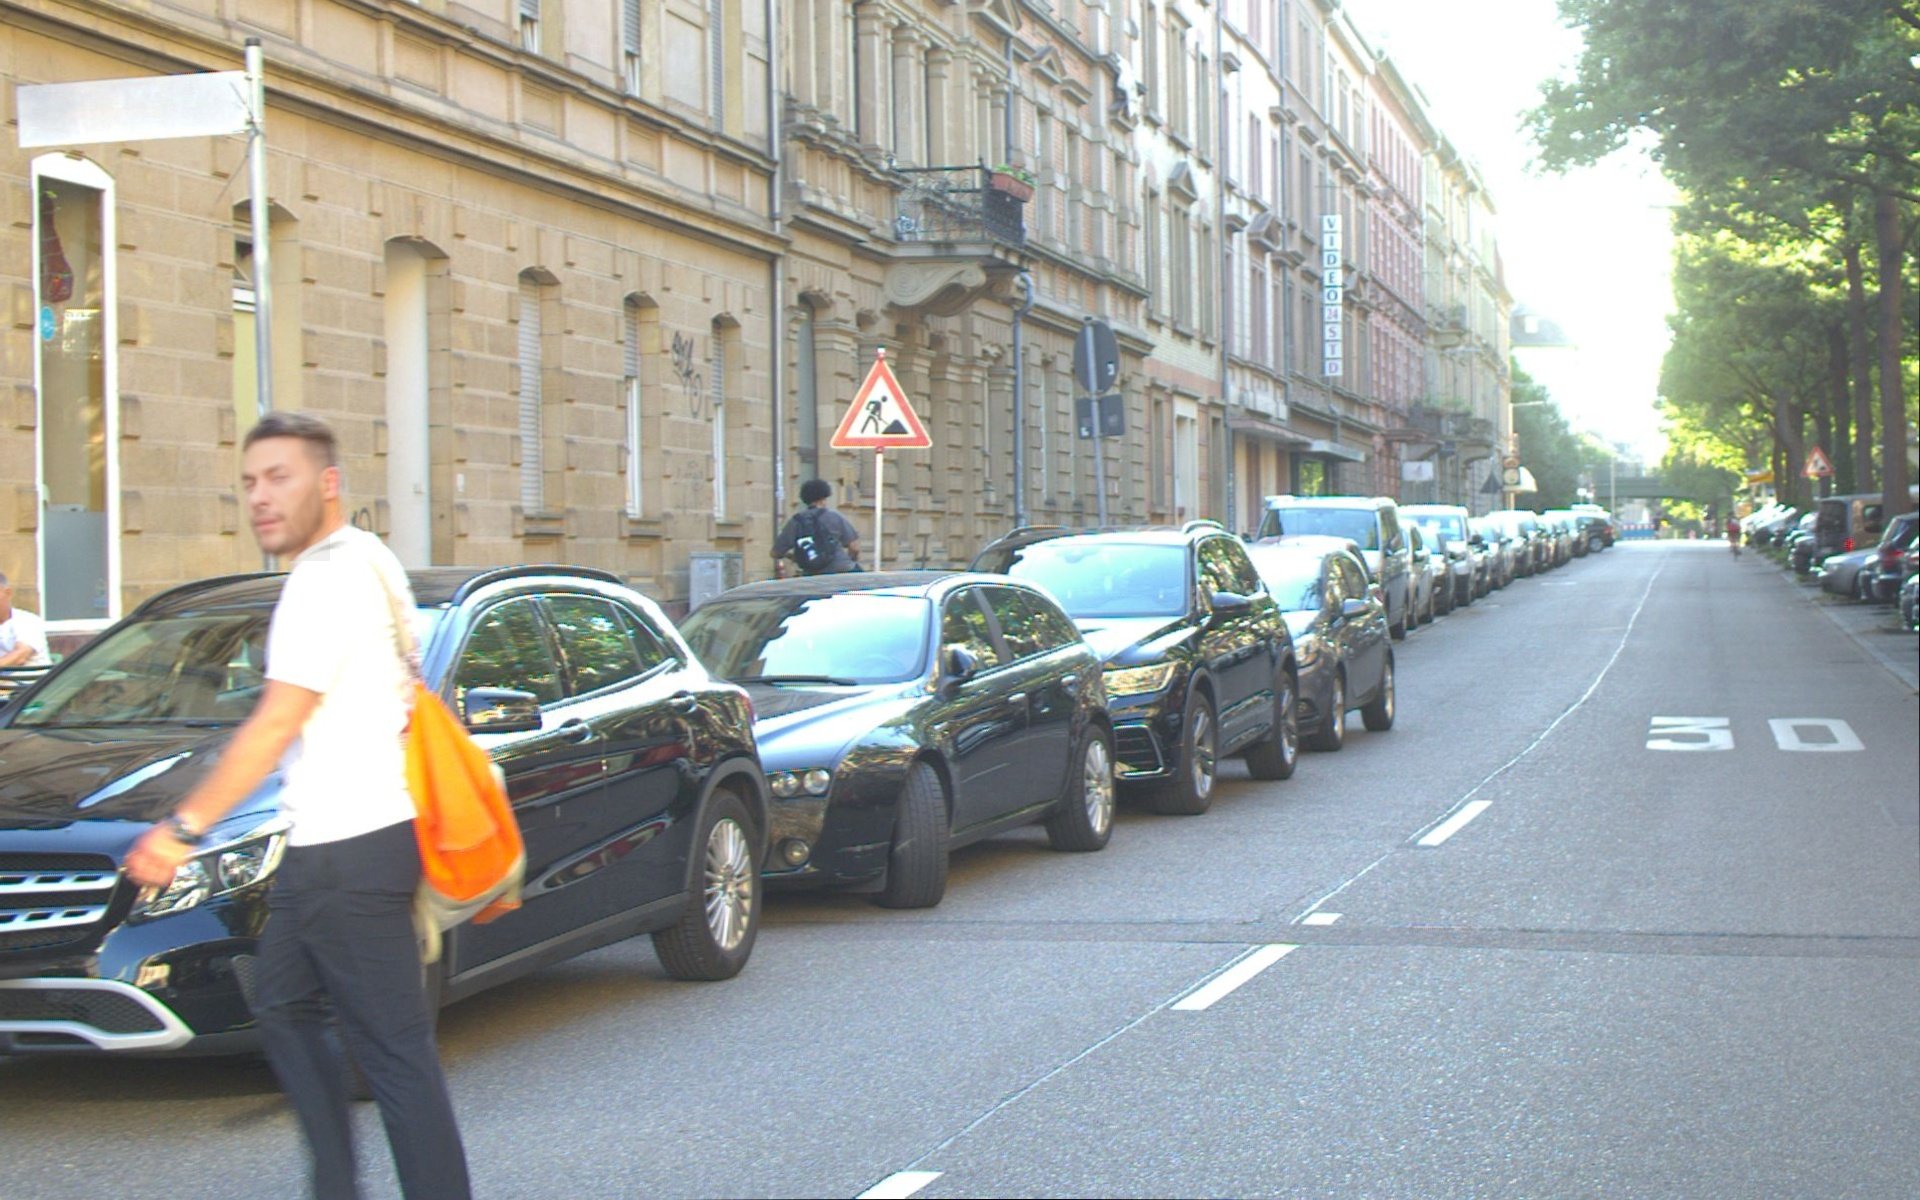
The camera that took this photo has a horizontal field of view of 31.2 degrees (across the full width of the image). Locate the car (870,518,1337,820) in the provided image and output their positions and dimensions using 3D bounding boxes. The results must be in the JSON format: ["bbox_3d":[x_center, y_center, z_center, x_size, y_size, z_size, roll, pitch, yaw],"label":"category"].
[{"bbox_3d":[1.009,0.339,21.021,1.760,1.594,4.547,-2,1,16],"label":"car"}]

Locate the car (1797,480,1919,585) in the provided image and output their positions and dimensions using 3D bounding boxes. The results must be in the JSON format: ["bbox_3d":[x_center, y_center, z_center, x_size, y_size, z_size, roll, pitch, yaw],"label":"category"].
[{"bbox_3d":[19.004,-1.401,67.042,5.059,1.919,1.834,-3,1,12],"label":"car"}]

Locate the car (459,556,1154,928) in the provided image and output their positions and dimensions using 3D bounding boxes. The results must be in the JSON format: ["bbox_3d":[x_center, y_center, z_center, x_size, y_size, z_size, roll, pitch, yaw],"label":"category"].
[{"bbox_3d":[-0.528,0.563,16.134,1.760,1.447,4.546,-2,1,18],"label":"car"}]

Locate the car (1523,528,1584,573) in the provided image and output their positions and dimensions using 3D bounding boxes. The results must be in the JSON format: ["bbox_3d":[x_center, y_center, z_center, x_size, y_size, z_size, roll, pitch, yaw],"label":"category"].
[{"bbox_3d":[21.102,-1.735,122.085,1.994,1.481,3.998,-1,-1,11],"label":"car"}]

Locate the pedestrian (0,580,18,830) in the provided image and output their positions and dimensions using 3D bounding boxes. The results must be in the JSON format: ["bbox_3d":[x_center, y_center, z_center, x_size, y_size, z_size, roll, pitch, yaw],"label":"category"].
[{"bbox_3d":[-5.227,0.539,17.174,0.725,1.254,0.756,-1,1,10],"label":"pedestrian"}]

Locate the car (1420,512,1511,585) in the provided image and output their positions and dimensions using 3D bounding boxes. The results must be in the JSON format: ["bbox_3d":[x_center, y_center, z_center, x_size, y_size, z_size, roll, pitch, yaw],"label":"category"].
[{"bbox_3d":[11.006,-1.136,74.645,1.759,1.468,4.058,-1,1,11],"label":"car"}]

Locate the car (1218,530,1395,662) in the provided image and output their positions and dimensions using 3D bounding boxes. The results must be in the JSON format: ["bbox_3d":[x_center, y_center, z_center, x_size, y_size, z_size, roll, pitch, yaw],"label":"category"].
[{"bbox_3d":[4.203,-0.085,41.308,1.593,1.470,3.697,1,2,14],"label":"car"}]

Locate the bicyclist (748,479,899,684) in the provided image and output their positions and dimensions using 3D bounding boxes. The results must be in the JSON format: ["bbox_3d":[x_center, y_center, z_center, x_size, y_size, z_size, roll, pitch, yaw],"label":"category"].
[{"bbox_3d":[-1.223,-0.182,31.124,0.996,1.783,1.207,-2,2,15],"label":"bicyclist"}]

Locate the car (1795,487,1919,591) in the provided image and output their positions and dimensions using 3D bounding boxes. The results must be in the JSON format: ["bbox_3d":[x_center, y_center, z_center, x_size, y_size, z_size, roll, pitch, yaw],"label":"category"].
[{"bbox_3d":[17.825,-1.189,63.482,4.220,1.788,1.835,-3,1,-7],"label":"car"}]

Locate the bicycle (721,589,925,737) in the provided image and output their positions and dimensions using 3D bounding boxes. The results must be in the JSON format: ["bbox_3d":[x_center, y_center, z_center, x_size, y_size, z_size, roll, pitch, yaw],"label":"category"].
[{"bbox_3d":[-1.200,0.543,31.132,0.996,1.154,2.921,-2,2,15],"label":"bicycle"}]

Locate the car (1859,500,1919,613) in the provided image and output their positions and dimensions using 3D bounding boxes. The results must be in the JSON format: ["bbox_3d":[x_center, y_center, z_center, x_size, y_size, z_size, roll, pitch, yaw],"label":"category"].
[{"bbox_3d":[15.270,-0.721,50.146,4.012,1.601,1.733,-3,0,12],"label":"car"}]

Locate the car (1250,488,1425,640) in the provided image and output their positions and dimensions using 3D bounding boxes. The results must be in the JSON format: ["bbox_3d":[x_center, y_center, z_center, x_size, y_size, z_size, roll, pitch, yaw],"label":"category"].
[{"bbox_3d":[5.217,-0.544,46.974,1.833,1.936,5.258,1,2,12],"label":"car"}]

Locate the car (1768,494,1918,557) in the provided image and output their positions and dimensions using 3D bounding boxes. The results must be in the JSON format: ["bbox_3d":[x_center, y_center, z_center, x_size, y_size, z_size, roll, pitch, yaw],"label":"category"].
[{"bbox_3d":[25.370,-2.141,98.881,3.851,1.568,1.718,-3,1,4],"label":"car"}]

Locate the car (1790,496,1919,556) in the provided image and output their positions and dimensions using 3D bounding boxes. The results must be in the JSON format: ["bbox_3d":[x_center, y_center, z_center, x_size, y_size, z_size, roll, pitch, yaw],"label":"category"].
[{"bbox_3d":[26.537,-2.183,101.084,3.851,1.568,1.718,-3,1,4],"label":"car"}]

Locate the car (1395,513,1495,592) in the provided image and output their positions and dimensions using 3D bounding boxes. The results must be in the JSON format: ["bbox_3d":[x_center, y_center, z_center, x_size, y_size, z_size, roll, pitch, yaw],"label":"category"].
[{"bbox_3d":[9.712,-0.962,68.687,1.759,1.468,4.058,-1,1,11],"label":"car"}]

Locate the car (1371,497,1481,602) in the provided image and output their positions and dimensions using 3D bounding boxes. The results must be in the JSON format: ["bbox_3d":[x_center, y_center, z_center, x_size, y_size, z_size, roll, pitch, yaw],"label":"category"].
[{"bbox_3d":[8.673,-0.967,63.743,1.759,1.835,4.528,-1,1,11],"label":"car"}]

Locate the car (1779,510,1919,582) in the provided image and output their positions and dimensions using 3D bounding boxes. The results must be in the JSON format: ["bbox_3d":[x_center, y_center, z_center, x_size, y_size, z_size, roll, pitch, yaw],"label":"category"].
[{"bbox_3d":[18.759,-1.133,70.032,3.851,1.289,1.717,-3,1,9],"label":"car"}]

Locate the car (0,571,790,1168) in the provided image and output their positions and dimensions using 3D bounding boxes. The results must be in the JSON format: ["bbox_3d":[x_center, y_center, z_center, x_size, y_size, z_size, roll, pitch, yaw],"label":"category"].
[{"bbox_3d":[-2.078,0.695,11.014,1.760,1.482,4.136,-2,1,16],"label":"car"}]

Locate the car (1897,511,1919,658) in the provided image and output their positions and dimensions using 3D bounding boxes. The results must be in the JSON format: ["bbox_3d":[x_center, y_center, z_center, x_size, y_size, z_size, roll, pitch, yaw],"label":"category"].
[{"bbox_3d":[12.688,-0.321,37.927,4.346,1.551,1.849,-4,2,12],"label":"car"}]

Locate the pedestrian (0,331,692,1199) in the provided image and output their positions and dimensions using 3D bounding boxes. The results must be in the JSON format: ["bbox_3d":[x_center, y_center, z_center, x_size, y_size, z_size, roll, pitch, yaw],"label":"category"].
[{"bbox_3d":[-1.178,0.457,6.766,1.114,1.892,0.842,-1,1,8],"label":"pedestrian"}]

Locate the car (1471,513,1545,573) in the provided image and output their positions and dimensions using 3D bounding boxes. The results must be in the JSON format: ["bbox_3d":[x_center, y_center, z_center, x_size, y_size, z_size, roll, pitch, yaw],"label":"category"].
[{"bbox_3d":[14.388,-1.515,90.157,1.759,1.468,4.058,-1,1,11],"label":"car"}]

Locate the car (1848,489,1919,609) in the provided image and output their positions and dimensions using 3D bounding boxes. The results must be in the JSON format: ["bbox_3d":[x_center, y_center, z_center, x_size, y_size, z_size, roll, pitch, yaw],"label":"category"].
[{"bbox_3d":[15.949,-0.882,52.929,4.223,1.770,1.834,-3,1,11],"label":"car"}]

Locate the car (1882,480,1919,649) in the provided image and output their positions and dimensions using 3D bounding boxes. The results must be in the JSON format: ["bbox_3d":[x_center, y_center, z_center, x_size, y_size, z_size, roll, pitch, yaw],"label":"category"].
[{"bbox_3d":[13.270,-0.568,40.417,4.445,1.917,1.849,-4,2,10],"label":"car"}]

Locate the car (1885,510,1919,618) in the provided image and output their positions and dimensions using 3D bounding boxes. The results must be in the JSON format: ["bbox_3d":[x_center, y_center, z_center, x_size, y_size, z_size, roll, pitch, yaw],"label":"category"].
[{"bbox_3d":[14.986,-0.600,47.667,4.012,1.462,1.733,-3,0,12],"label":"car"}]

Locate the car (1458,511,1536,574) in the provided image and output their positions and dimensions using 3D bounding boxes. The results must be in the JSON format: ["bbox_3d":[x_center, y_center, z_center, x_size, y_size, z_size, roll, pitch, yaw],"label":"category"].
[{"bbox_3d":[13.368,-1.454,85.502,1.759,1.468,4.058,-1,1,11],"label":"car"}]

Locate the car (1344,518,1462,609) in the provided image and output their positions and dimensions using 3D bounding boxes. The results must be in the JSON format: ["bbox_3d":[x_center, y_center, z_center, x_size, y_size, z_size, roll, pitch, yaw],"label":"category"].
[{"bbox_3d":[7.647,-0.654,59.124,1.759,1.462,3.998,1,2,11],"label":"car"}]

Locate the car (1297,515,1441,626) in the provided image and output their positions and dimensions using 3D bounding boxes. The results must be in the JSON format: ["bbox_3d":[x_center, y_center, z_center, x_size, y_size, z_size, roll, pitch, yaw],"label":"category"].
[{"bbox_3d":[6.298,-0.491,52.612,1.754,1.603,4.382,1,2,12],"label":"car"}]

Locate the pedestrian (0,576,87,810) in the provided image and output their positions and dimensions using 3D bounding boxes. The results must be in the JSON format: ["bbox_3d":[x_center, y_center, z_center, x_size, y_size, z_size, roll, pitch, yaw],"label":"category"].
[{"bbox_3d":[-5.174,0.487,18.342,0.725,1.209,0.756,-1,1,10],"label":"pedestrian"}]

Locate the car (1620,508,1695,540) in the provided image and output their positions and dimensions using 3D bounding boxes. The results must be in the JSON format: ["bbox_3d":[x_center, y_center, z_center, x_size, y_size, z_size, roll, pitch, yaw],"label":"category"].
[{"bbox_3d":[40.373,-4.399,199.005,3.991,1.853,1.749,0,2,20],"label":"car"}]

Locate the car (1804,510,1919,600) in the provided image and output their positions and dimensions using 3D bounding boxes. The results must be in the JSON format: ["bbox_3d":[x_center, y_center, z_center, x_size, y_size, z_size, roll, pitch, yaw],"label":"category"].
[{"bbox_3d":[16.541,-0.832,58.002,4.222,1.398,1.835,-3,1,8],"label":"car"}]

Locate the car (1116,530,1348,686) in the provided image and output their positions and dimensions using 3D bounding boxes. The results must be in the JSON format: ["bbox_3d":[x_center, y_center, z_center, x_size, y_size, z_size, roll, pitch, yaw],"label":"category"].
[{"bbox_3d":[2.981,0.048,36.905,1.759,1.496,4.057,-2,1,15],"label":"car"}]

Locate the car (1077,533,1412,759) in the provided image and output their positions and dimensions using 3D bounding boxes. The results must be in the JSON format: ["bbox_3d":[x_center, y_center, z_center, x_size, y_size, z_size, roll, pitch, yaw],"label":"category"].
[{"bbox_3d":[2.231,0.292,25.981,1.760,1.496,4.057,-2,1,15],"label":"car"}]
